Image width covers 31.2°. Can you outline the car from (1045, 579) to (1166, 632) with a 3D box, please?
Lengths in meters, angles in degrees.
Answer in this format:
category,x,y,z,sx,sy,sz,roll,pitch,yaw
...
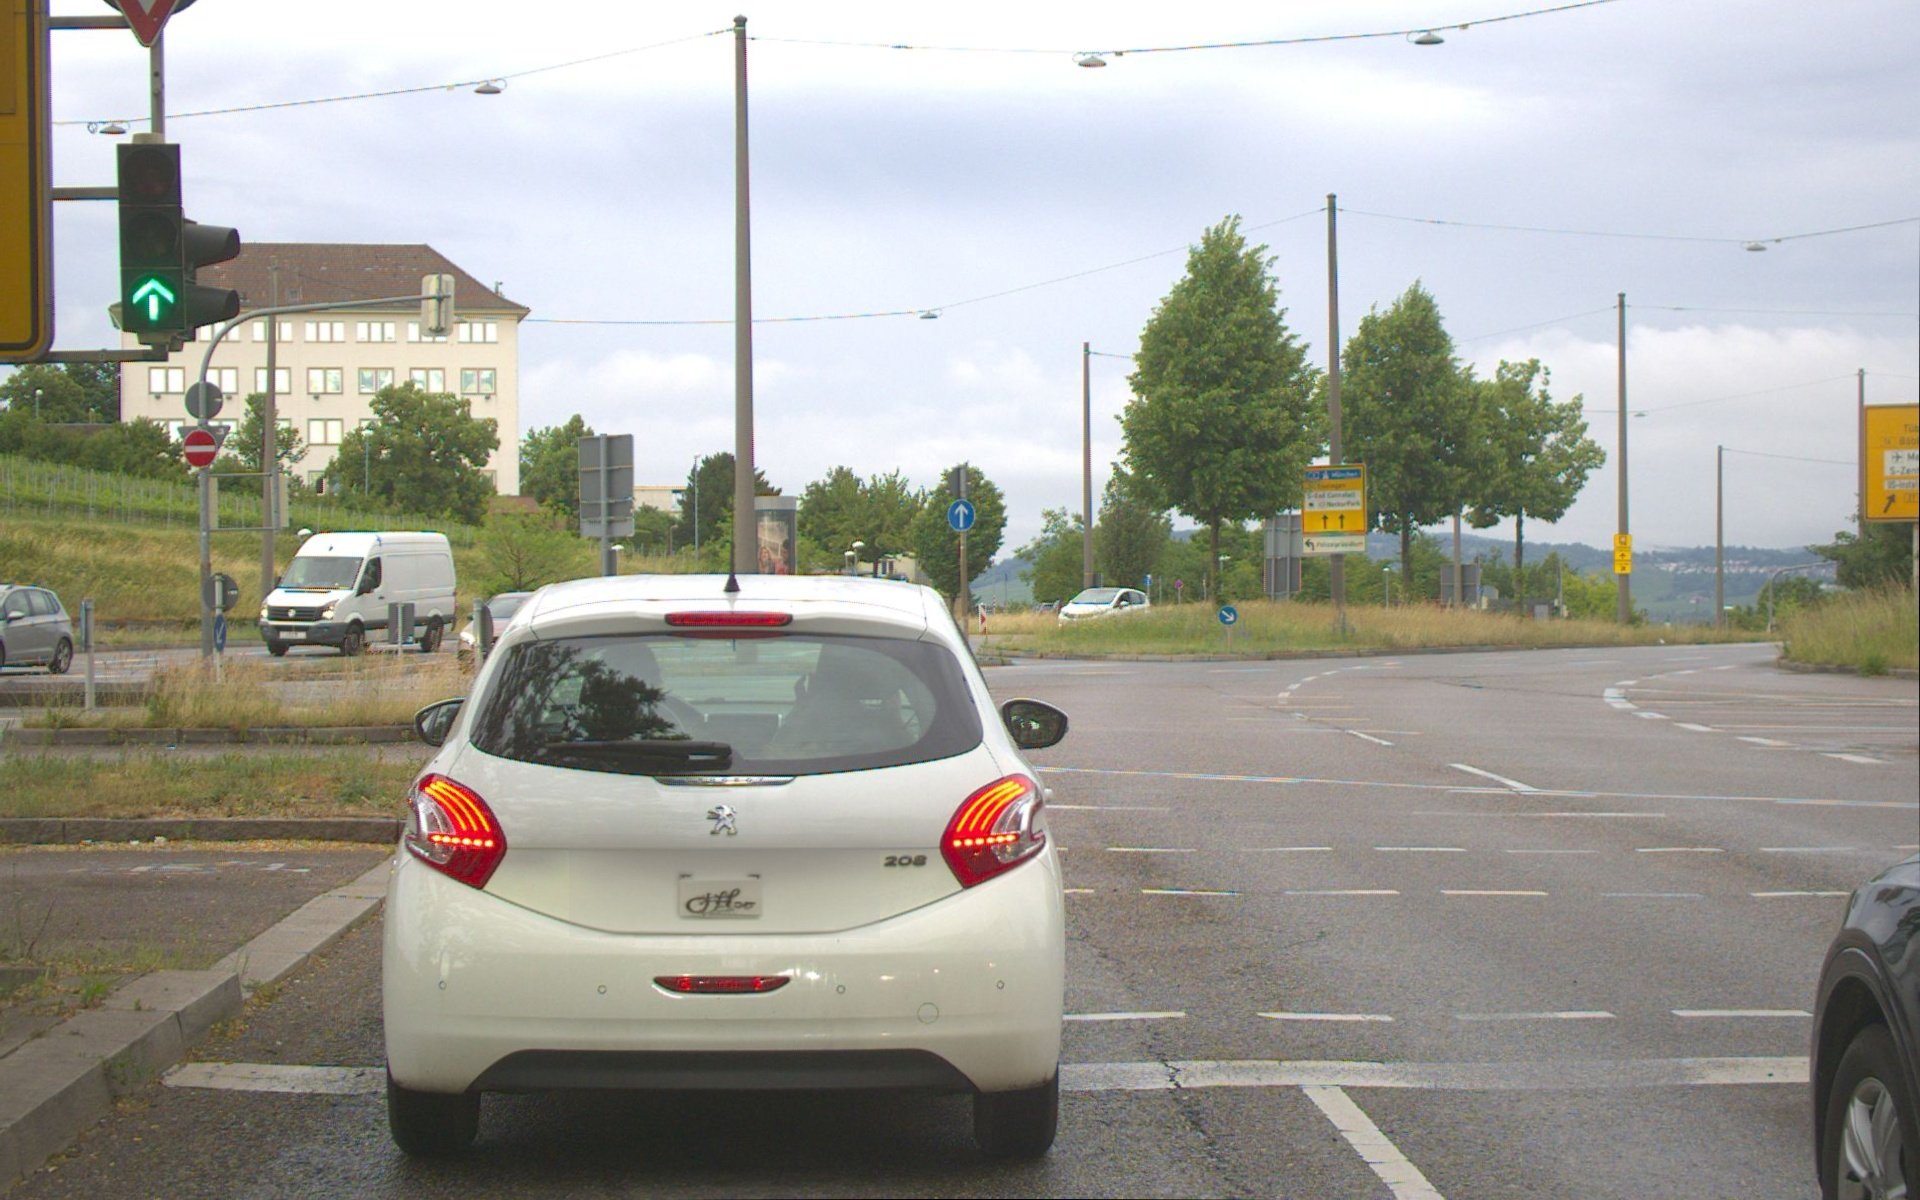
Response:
category,x,y,z,sx,sy,sz,roll,pitch,yaw
car,4.448,0.175,104.459,1.754,1.507,3.992,1,0,35

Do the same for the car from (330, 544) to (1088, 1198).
category,x,y,z,sx,sy,sz,roll,pitch,yaw
car,-0.628,0.620,9.856,1.717,1.484,4.000,0,0,-2

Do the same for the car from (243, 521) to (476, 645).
category,x,y,z,sx,sy,sz,roll,pitch,yaw
car,-12.918,-0.328,74.406,1.996,2.550,6.163,1,0,21

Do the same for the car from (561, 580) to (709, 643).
category,x,y,z,sx,sy,sz,roll,pitch,yaw
car,-8.169,0.304,86.768,1.996,1.507,4.227,2,0,21

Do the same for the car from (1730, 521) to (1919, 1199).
category,x,y,z,sx,sy,sz,roll,pitch,yaw
car,2.584,0.687,4.880,1.884,1.590,4.114,2,0,-2

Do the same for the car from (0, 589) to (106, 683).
category,x,y,z,sx,sy,sz,roll,pitch,yaw
car,-16.684,0.593,58.956,1.995,1.570,4.191,2,0,18

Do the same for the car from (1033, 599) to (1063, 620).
category,x,y,z,sx,sy,sz,roll,pitch,yaw
car,6.240,0.674,244.048,1.841,1.481,4.000,0,0,-3

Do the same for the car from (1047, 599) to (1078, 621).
category,x,y,z,sx,sy,sz,roll,pitch,yaw
car,7.014,0.689,235.671,1.841,1.481,4.000,0,0,-3

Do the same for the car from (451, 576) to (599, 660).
category,x,y,z,sx,sy,sz,roll,pitch,yaw
car,-7.677,0.321,61.043,1.776,1.420,4.373,-1,0,4
